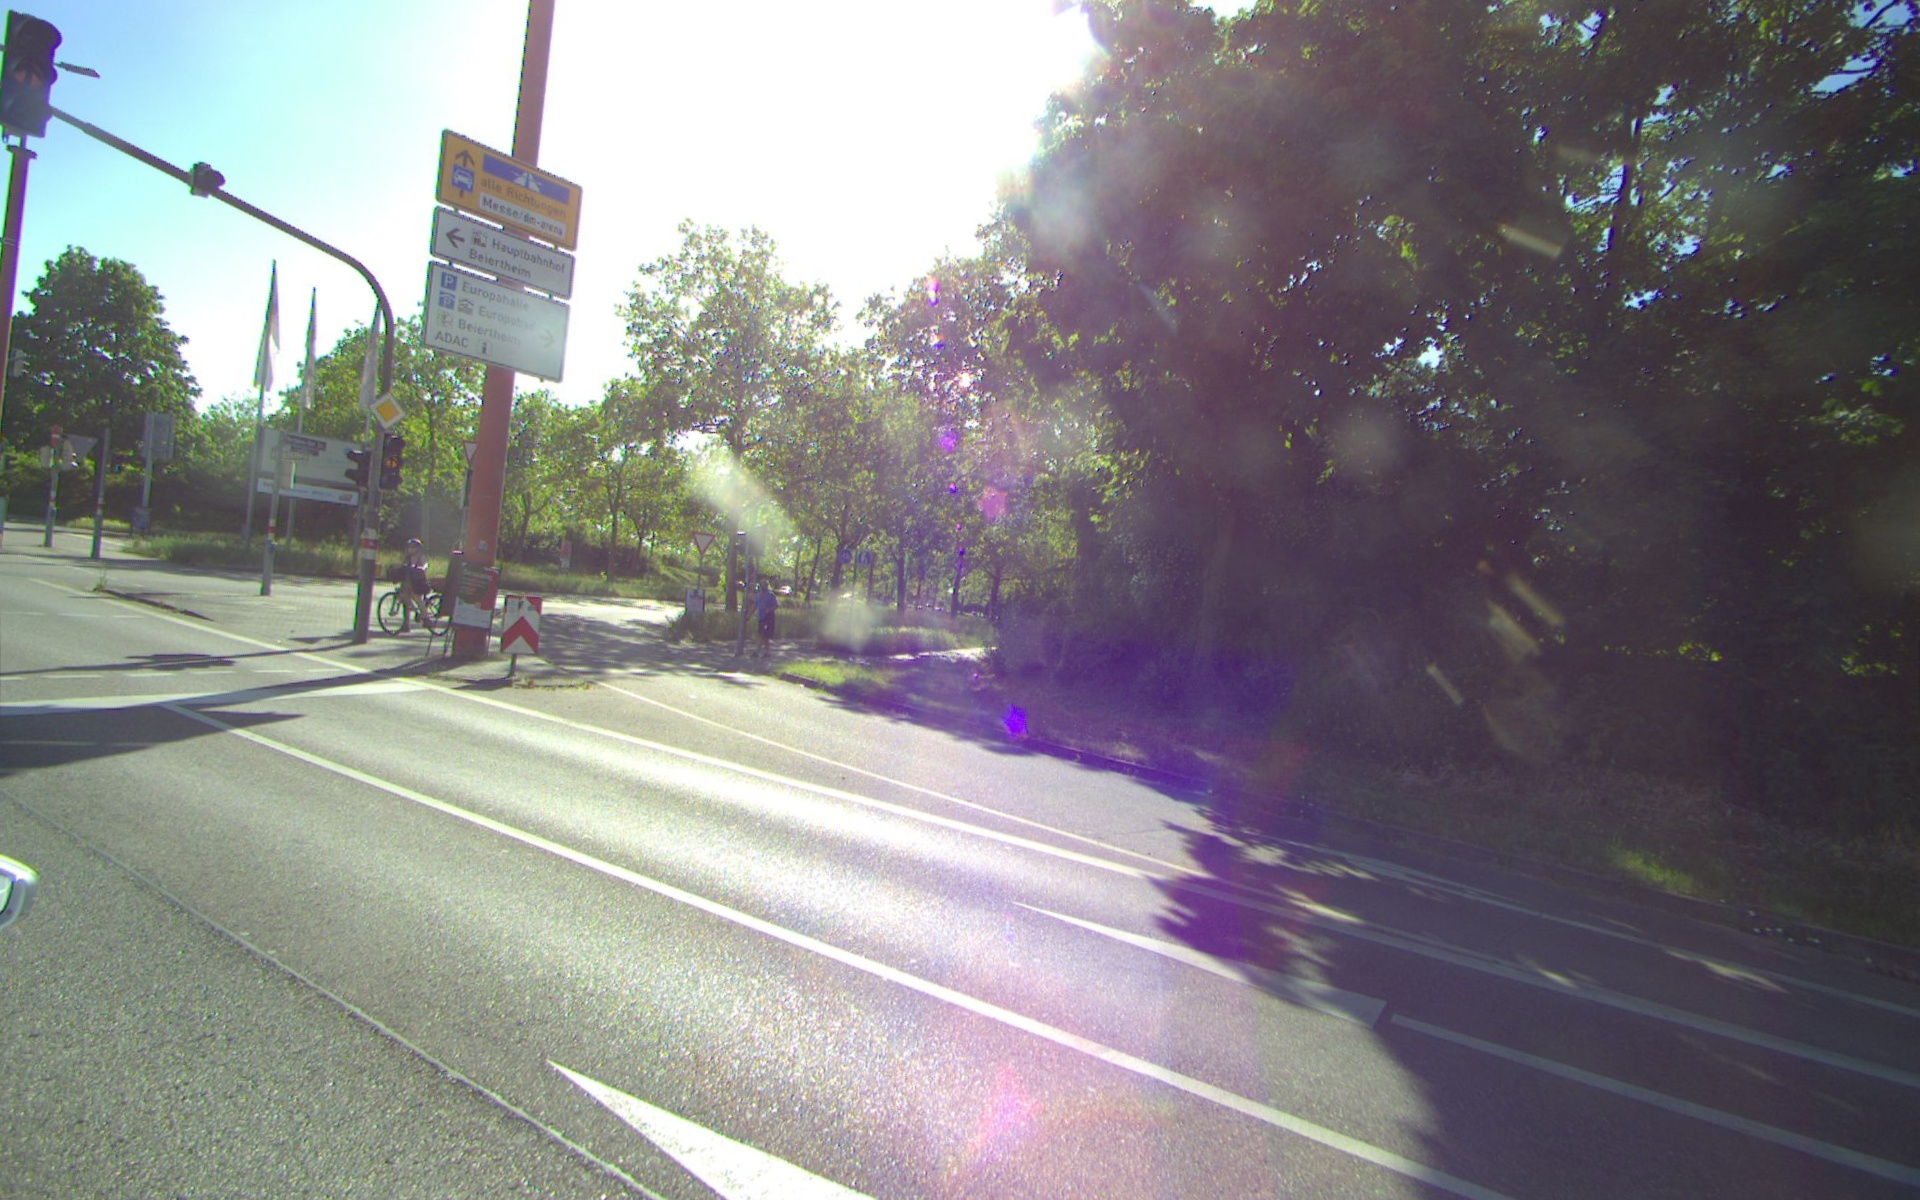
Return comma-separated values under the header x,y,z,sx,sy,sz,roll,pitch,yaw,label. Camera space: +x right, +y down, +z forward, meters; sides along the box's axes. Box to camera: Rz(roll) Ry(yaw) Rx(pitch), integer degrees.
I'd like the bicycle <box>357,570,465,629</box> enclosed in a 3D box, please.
x,y,z,sx,sy,sz,roll,pitch,yaw,label
-9.390,0.009,17.315,0.549,0.889,2.169,7,0,1,bicycle

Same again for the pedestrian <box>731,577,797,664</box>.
x,y,z,sx,sy,sz,roll,pitch,yaw,label
-4.475,0.473,22.965,0.885,1.810,0.892,8,0,33,pedestrian

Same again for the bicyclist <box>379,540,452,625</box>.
x,y,z,sx,sy,sz,roll,pitch,yaw,label
-9.399,-0.294,17.382,0.694,1.358,0.742,7,0,1,bicyclist
